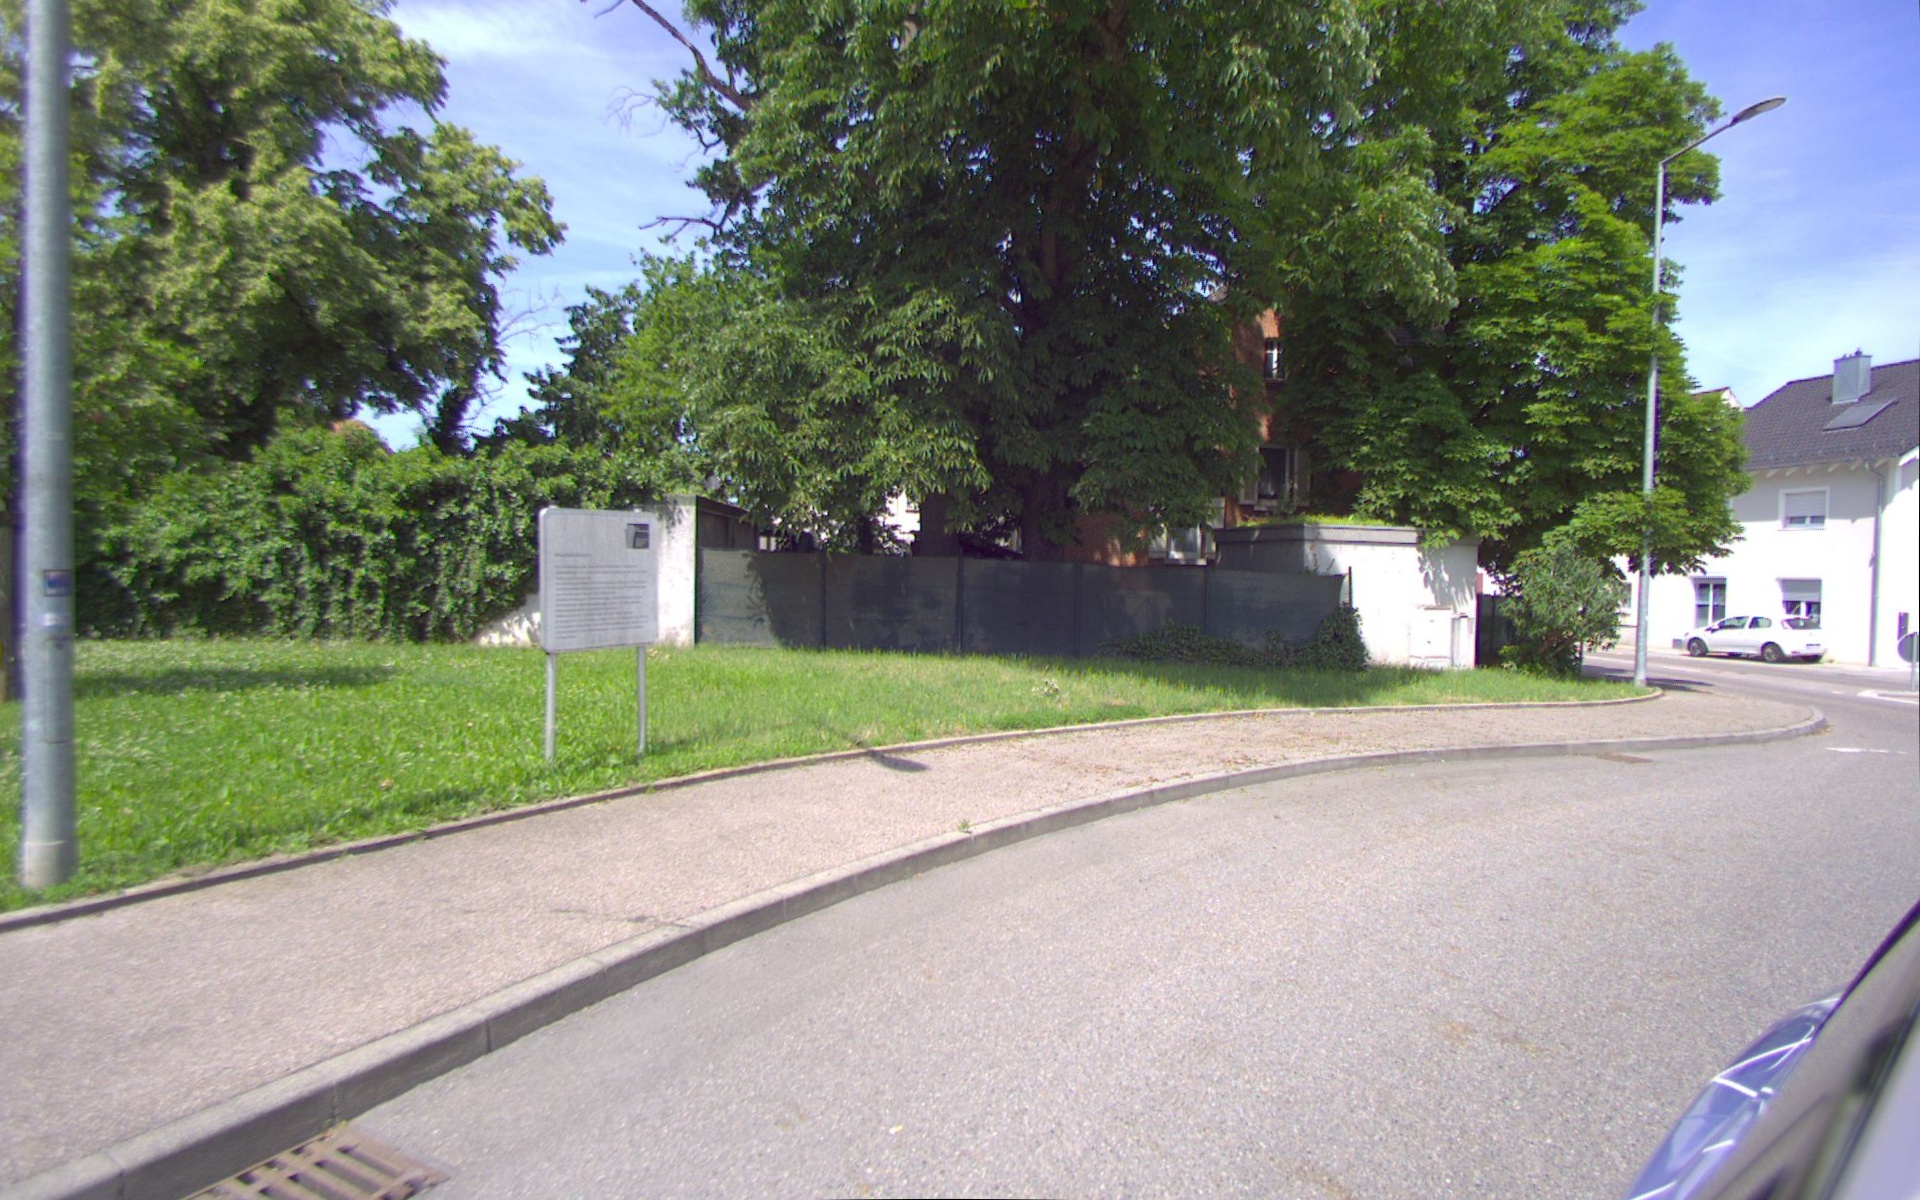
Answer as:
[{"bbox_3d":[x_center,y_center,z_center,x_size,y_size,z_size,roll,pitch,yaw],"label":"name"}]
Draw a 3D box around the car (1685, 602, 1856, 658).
[{"bbox_3d":[25.516,0.884,32.056,1.788,1.521,4.008,-1,1,-11],"label":"car"}]
